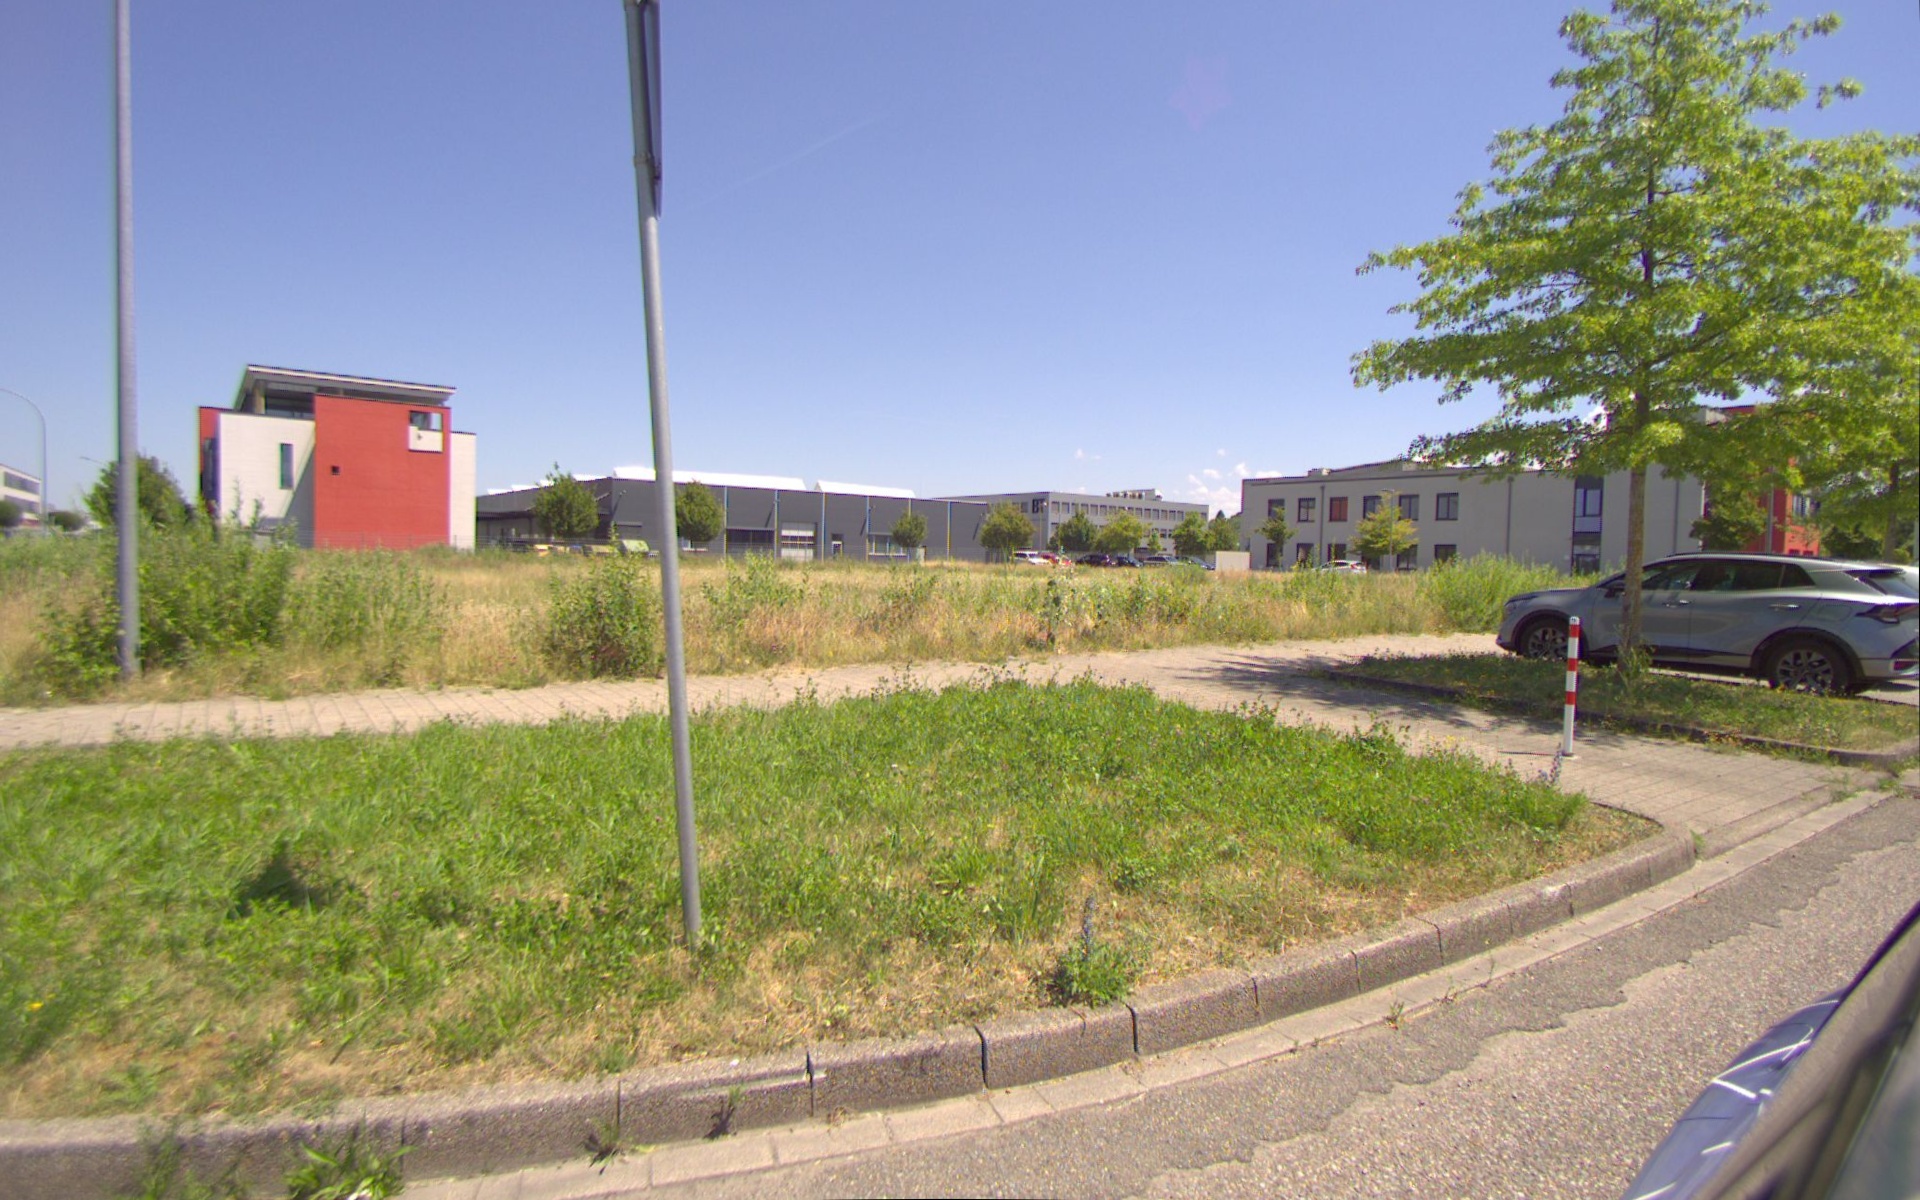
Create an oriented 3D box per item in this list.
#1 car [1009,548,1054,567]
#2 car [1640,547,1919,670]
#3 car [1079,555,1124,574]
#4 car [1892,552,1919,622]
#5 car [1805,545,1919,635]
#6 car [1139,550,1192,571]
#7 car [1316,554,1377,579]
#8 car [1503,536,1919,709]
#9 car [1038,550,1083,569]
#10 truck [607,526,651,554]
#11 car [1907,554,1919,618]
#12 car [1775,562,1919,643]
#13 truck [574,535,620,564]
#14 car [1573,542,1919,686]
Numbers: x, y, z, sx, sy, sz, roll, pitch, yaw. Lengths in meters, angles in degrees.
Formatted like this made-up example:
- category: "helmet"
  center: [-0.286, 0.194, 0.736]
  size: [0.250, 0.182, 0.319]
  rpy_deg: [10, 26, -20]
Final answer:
- category: "car"
  center: [6.116, -3.665, 87.162]
  size: [1.687, 1.470, 4.001]
  rpy_deg: [0, 3, -36]
- category: "car"
  center: [13.272, 0.046, 15.701]
  size: [1.866, 1.627, 4.083]
  rpy_deg: [-2, 5, -36]
- category: "car"
  center: [12.786, -3.229, 91.621]
  size: [1.687, 1.528, 4.001]
  rpy_deg: [0, 3, -36]
- category: "car"
  center: [25.577, -0.207, 24.443]
  size: [1.749, 1.716, 4.188]
  rpy_deg: [-1, 5, -37]
- category: "car"
  center: [20.700, -0.151, 21.028]
  size: [1.957, 1.789, 4.463]
  rpy_deg: [-1, 4, -38]
- category: "car"
  center: [16.607, -3.196, 81.889]
  size: [1.688, 1.528, 3.999]
  rpy_deg: [-1, 4, -37]
- category: "car"
  center: [25.311, -2.221, 66.379]
  size: [1.687, 1.528, 3.334]
  rpy_deg: [0, 3, -36]
- category: "car"
  center: [9.352, 0.116, 12.457]
  size: [1.816, 1.663, 4.295]
  rpy_deg: [-1, 5, -36]
- category: "car"
  center: [8.755, -3.517, 88.276]
  size: [1.687, 1.528, 4.001]
  rpy_deg: [0, 3, -36]
- category: "truck"
  center: [-25.237, -4.564, 77.079]
  size: [1.963, 2.038, 4.000]
  rpy_deg: [0, 3, -37]
- category: "car"
  center: [27.595, -0.252, 26.396]
  size: [1.749, 1.698, 3.890]
  rpy_deg: [0, 4, -36]
- category: "car"
  center: [18.575, 0.049, 19.629]
  size: [1.874, 1.426, 3.936]
  rpy_deg: [-2, 5, -36]
- category: "truck"
  center: [-26.986, -3.759, 75.159]
  size: [1.963, 2.038, 4.356]
  rpy_deg: [0, 3, -37]
- category: "car"
  center: [11.255, 0.073, 14.300]
  size: [1.804, 1.664, 4.000]
  rpy_deg: [-1, 4, -37]
